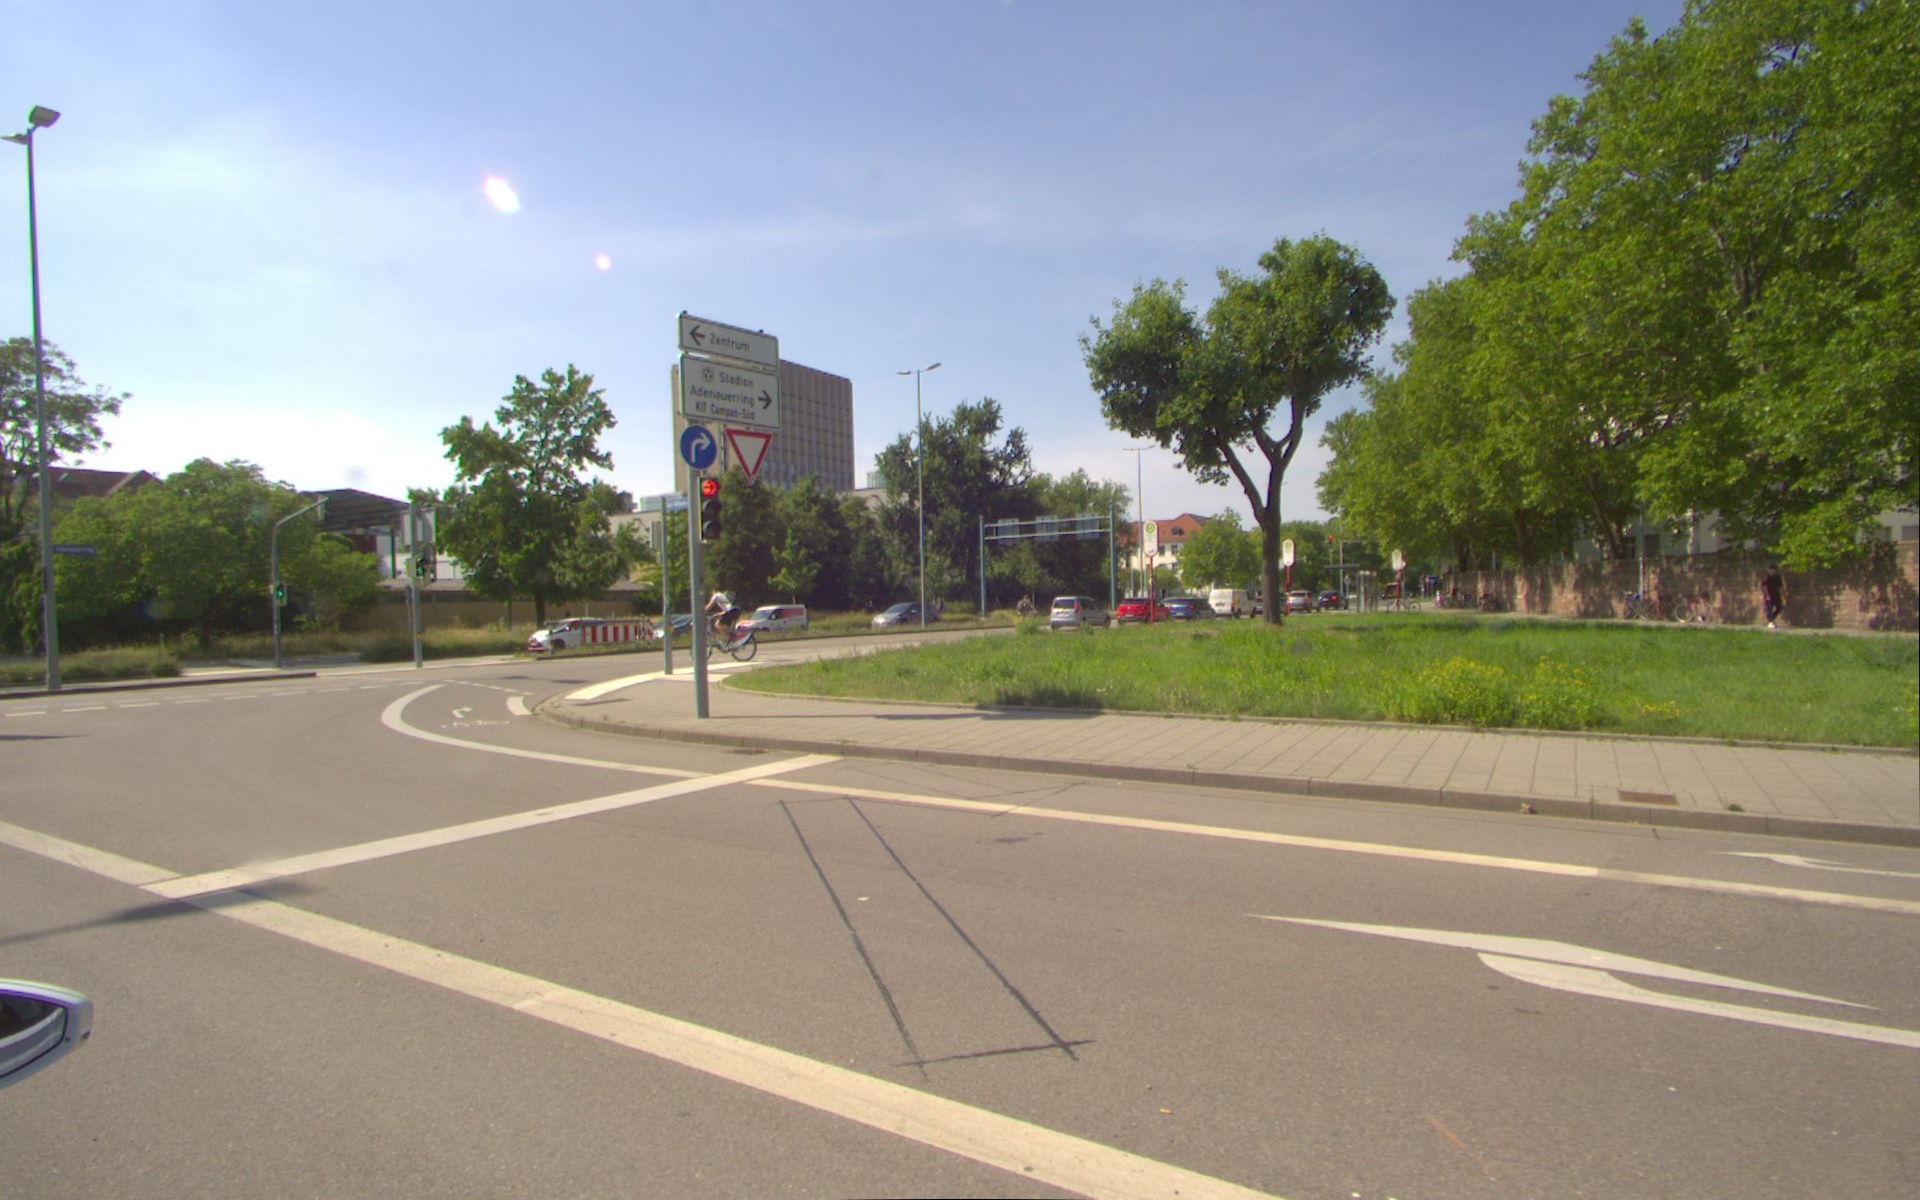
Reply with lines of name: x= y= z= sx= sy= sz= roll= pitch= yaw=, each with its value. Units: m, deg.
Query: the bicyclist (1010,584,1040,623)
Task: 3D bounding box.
bicyclist: x=2.550 y=0.146 z=39.179 sx=0.558 sy=1.494 sz=1.158 roll=0 pitch=1 yaw=44

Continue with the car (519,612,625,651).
car: x=-17.082 y=1.373 z=44.267 sx=1.972 sy=1.483 sz=3.978 roll=-2 pitch=0 yaw=32

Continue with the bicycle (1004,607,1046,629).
bicycle: x=2.543 y=0.704 z=39.156 sx=0.554 sy=0.803 sz=1.878 roll=1 pitch=2 yaw=44

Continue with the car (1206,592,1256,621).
car: x=17.779 y=0.383 z=65.465 sx=1.729 sy=1.781 sz=4.403 roll=-1 pitch=1 yaw=36

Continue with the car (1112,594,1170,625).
car: x=9.771 y=0.547 z=53.847 sx=1.727 sy=1.527 sz=3.981 roll=-1 pitch=-3 yaw=32

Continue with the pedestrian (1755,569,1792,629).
pedestrian: x=24.318 y=-0.019 z=29.947 sx=0.608 sy=1.763 sz=0.599 roll=-1 pitch=1 yaw=3

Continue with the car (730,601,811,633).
car: x=-10.186 y=0.906 z=54.188 sx=1.883 sy=1.590 sz=4.300 roll=-1 pitch=1 yaw=32

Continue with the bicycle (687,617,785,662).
bicycle: x=-5.118 y=0.899 z=22.958 sx=2.128 sy=0.928 sz=0.674 roll=-2 pitch=1 yaw=-11

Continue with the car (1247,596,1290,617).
car: x=21.945 y=0.460 z=71.113 sx=1.729 sy=1.357 sz=3.973 roll=-1 pitch=1 yaw=36

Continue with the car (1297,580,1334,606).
car: x=29.457 y=-0.559 z=82.857 sx=1.973 sy=2.040 sz=3.976 roll=-1 pitch=1 yaw=34

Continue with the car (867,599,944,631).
car: x=-2.740 y=0.750 z=51.010 sx=1.619 sy=1.424 sz=4.080 roll=-3 pitch=-1 yaw=37

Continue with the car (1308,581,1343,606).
car: x=31.324 y=-0.558 z=85.755 sx=1.973 sy=2.040 sz=3.976 roll=-1 pitch=1 yaw=34

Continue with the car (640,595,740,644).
car: x=-12.210 y=0.854 z=45.517 sx=1.976 sy=2.040 sz=3.971 roll=-3 pitch=-1 yaw=37

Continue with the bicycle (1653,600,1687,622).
bicycle: x=25.168 y=0.388 z=35.516 sx=0.334 sy=0.738 sz=1.364 roll=-1 pitch=1 yaw=5

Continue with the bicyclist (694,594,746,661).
bicyclist: x=-5.478 y=0.627 z=22.879 sx=1.121 sy=1.489 sz=0.496 roll=-1 pitch=-1 yaw=-12

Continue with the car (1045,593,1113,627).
car: x=5.802 y=0.483 z=48.540 sx=1.727 sy=1.528 sz=3.978 roll=-1 pitch=1 yaw=32

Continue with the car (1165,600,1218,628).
car: x=13.915 y=0.825 z=60.093 sx=1.729 sy=1.494 sz=3.973 roll=-1 pitch=1 yaw=36

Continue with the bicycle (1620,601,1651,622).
bicycle: x=25.125 y=0.419 z=37.241 sx=0.334 sy=0.738 sz=1.364 roll=-1 pitch=1 yaw=5

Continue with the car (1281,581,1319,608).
car: x=26.786 y=-0.426 z=78.759 sx=1.972 sy=2.040 sz=3.977 roll=-1 pitch=1 yaw=32

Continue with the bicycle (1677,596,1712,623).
bicycle: x=25.016 y=0.321 z=34.107 sx=0.365 sy=0.867 sz=1.307 roll=-1 pitch=1 yaw=7
